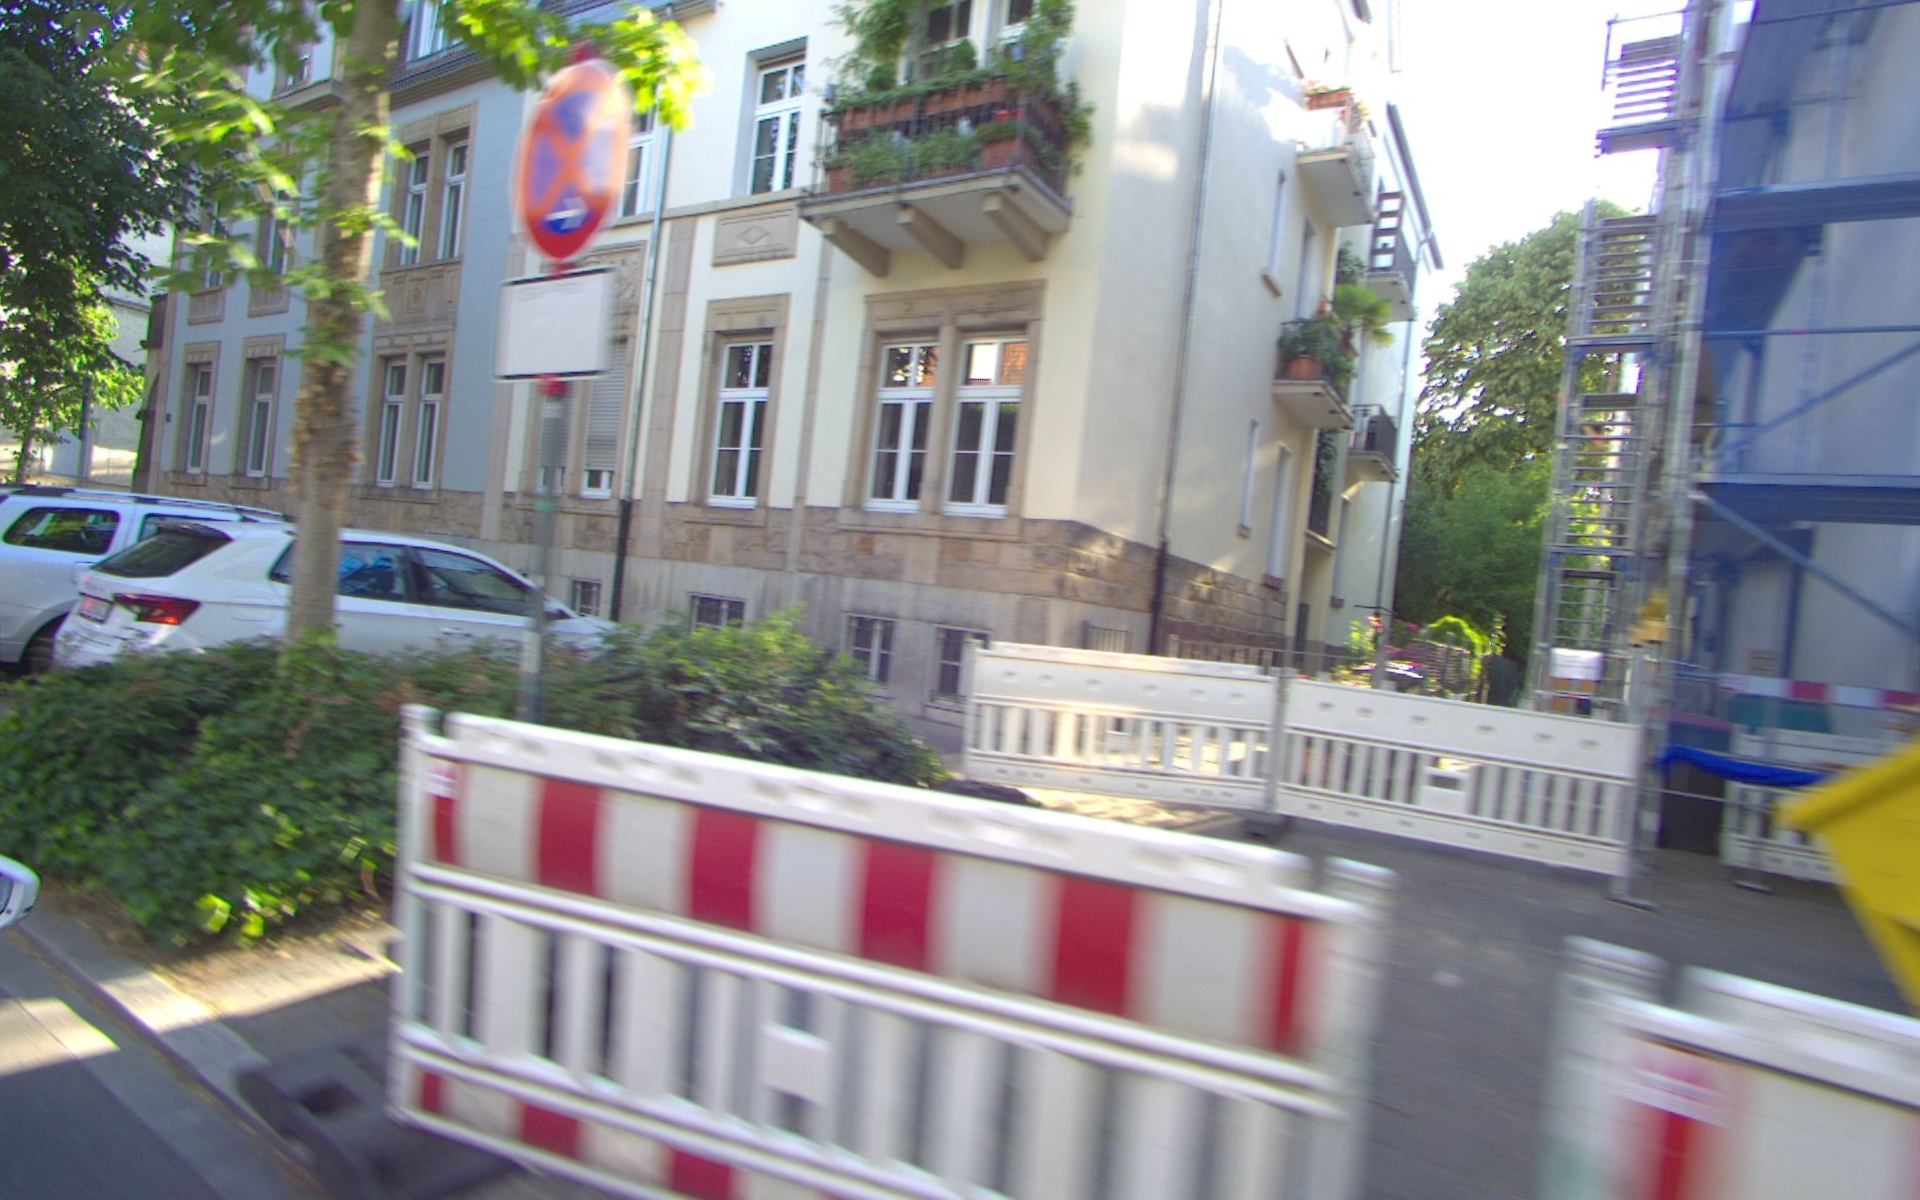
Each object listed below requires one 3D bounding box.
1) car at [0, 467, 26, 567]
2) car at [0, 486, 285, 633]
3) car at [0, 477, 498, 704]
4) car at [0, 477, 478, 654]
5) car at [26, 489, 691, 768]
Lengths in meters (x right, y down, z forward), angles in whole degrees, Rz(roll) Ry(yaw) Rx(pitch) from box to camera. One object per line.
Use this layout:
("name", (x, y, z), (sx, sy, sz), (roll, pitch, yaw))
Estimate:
("car", (-19.454, -1.716, 17.472), (1.967, 1.830, 4.317), (7, 1, 32))
("car", (-10.327, -0.486, 11.647), (1.705, 1.481, 3.750), (7, 1, 32))
("car", (-6.414, -0.059, 8.603), (1.660, 1.554, 4.144), (7, 1, 34))
("car", (-7.985, -0.283, 11.256), (1.798, 1.554, 4.317), (7, 1, 31))
("car", (-4.142, 0.210, 7.490), (1.661, 1.481, 3.849), (7, 1, 37))
